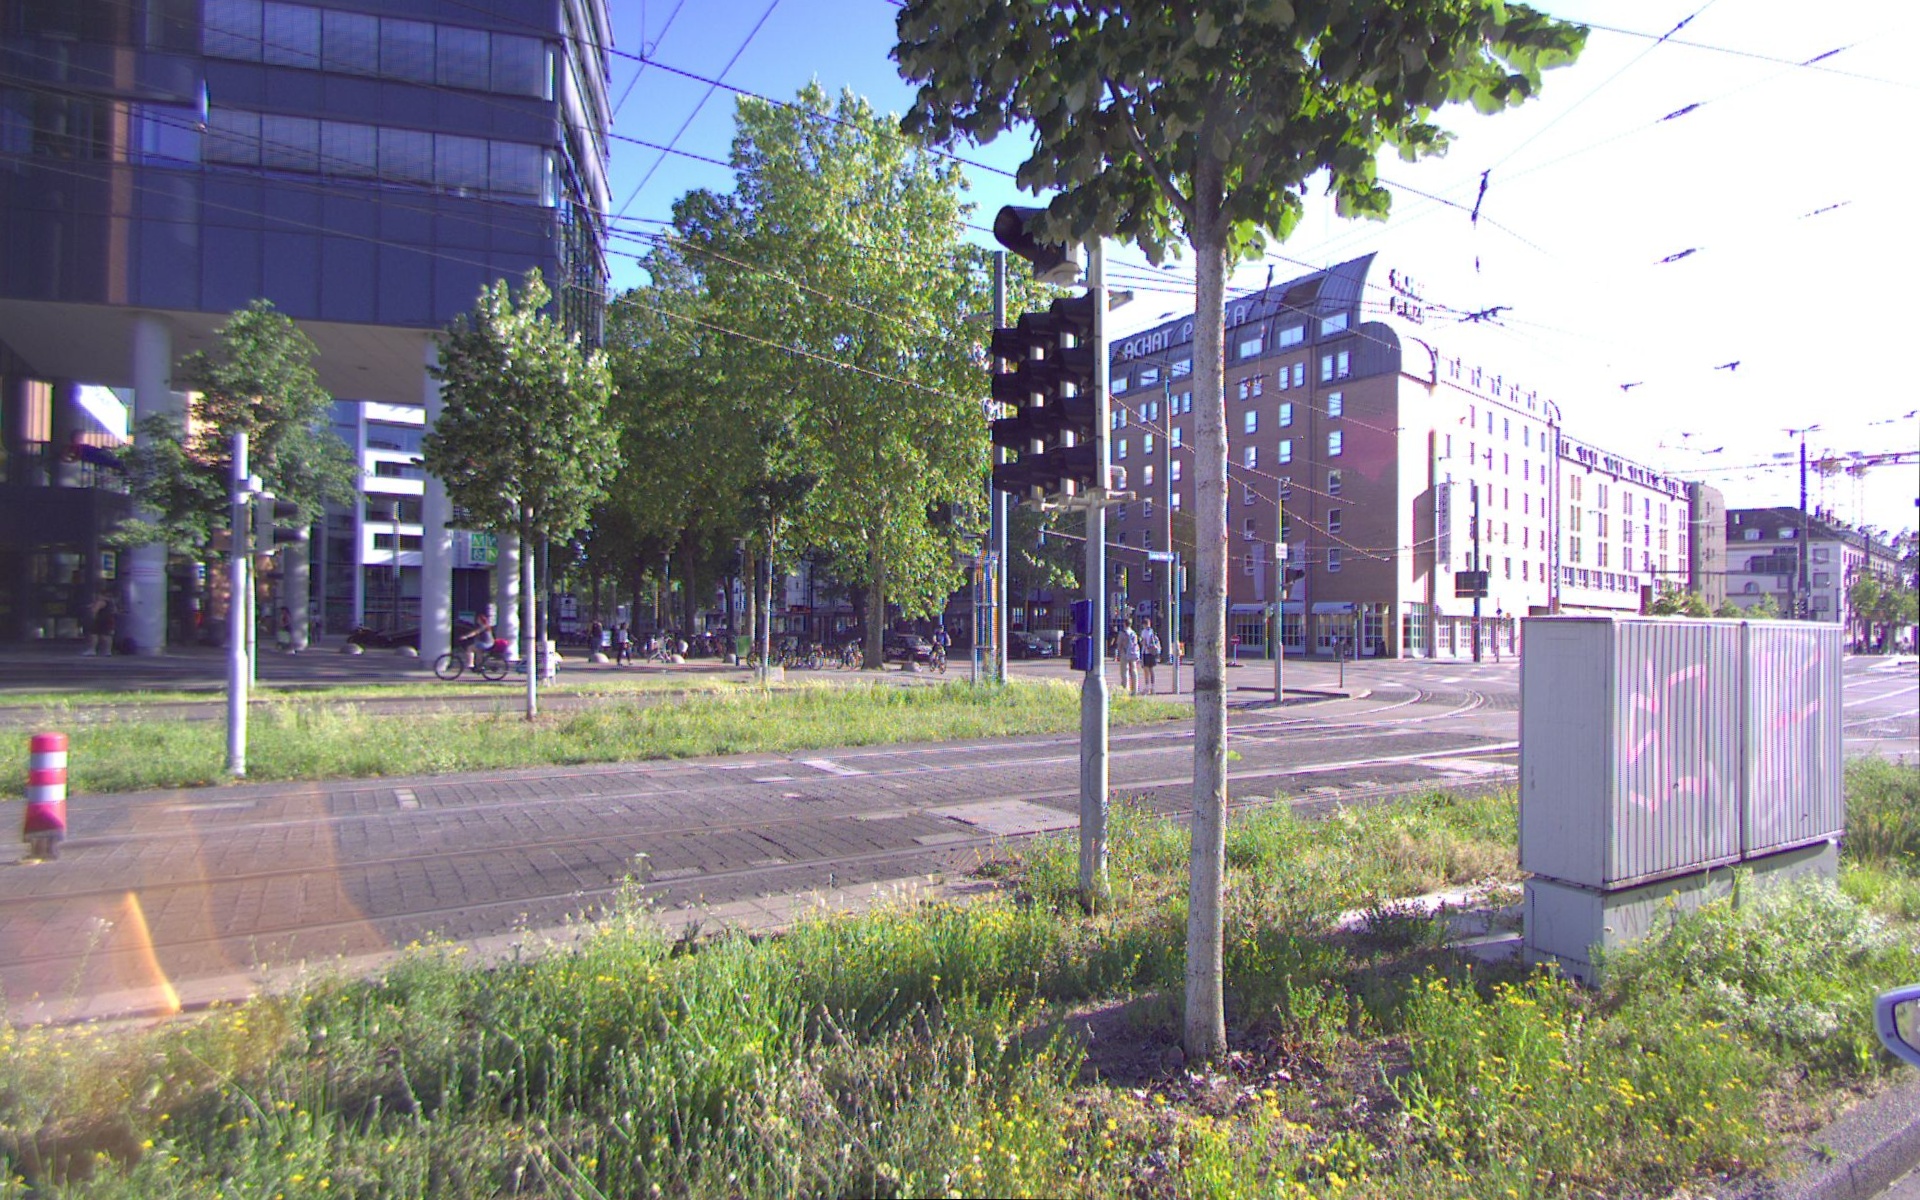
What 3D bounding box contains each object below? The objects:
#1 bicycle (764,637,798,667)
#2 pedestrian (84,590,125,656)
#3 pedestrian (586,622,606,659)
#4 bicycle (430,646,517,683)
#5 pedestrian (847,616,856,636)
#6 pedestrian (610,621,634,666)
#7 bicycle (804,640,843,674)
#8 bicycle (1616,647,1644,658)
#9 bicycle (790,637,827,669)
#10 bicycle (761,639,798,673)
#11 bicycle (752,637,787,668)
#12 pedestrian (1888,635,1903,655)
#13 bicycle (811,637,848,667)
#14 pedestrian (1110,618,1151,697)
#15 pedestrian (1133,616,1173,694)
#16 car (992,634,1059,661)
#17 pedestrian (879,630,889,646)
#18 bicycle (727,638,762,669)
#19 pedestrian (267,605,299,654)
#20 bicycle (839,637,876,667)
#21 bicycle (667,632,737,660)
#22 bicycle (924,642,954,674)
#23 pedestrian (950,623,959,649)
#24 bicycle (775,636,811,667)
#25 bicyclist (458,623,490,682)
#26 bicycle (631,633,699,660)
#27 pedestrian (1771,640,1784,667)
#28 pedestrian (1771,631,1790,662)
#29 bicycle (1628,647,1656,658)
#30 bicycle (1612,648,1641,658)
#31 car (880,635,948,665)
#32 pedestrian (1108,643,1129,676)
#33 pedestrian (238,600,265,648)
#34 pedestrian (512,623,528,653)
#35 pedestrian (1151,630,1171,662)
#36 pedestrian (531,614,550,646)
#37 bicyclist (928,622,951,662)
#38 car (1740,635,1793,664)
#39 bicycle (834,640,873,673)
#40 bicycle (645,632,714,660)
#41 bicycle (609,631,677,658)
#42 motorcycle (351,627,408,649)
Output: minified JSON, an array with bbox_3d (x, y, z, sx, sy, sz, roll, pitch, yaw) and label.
[{"bbox_3d":[-7.351,2.117,41.117,0.592,1.143,2.348,0,-1,-30],"label":"bicycle"},{"bbox_3d":[-22.824,0.626,26.810,0.691,1.727,0.728,1,-2,-31],"label":"pedestrian"},{"bbox_3d":[-16.772,1.869,46.262,0.691,1.674,0.700,2,-1,-32],"label":"pedestrian"},{"bbox_3d":[-13.121,1.729,27.105,2.043,0.962,0.686,2,-1,-31],"label":"bicycle"},{"bbox_3d":[-8.997,2.172,83.156,0.557,1.594,0.636,2,0,-20],"label":"pedestrian"},{"bbox_3d":[-13.034,1.660,38.776,0.819,1.702,0.712,-1,-1,-23],"label":"pedestrian"},{"bbox_3d":[-4.964,2.046,36.414,0.592,1.143,2.348,0,-1,-29],"label":"bicycle"},{"bbox_3d":[58.353,4.585,87.477,0.477,0.933,2.024,1,-2,-30],"label":"bicycle"},{"bbox_3d":[-5.922,2.046,39.092,0.592,1.143,2.348,0,-1,-30],"label":"bicycle"},{"bbox_3d":[-6.508,1.984,36.073,0.592,1.143,2.348,0,-1,-29],"label":"bicycle"},{"bbox_3d":[-7.421,2.023,39.058,0.592,1.143,2.348,0,-1,-30],"label":"bicycle"},{"bbox_3d":[82.296,3.947,88.358,0.850,1.692,0.781,0,0,39],"label":"pedestrian"},{"bbox_3d":[-5.244,2.076,40.239,0.592,1.143,2.348,0,-1,-30],"label":"bicycle"},{"bbox_3d":[4.142,1.382,24.443,0.691,1.894,0.728,1,-2,-31],"label":"pedestrian"},{"bbox_3d":[4.812,1.361,25.089,0.666,1.894,0.727,1,-2,-33],"label":"pedestrian"},{"bbox_3d":[3.538,2.574,55.123,1.653,1.433,3.965,2,-3,-32],"label":"car"},{"bbox_3d":[-5.695,2.864,75.058,0.583,1.179,0.742,1,-1,-17],"label":"pedestrian"},{"bbox_3d":[-8.300,2.041,38.604,0.592,1.143,2.348,0,-1,-30],"label":"bicycle"},{"bbox_3d":[-23.274,1.019,34.554,0.722,1.644,0.696,1,-1,-18],"label":"pedestrian"},{"bbox_3d":[-4.157,2.097,40.640,0.592,1.143,2.348,0,-1,-30],"label":"bicycle"},{"bbox_3d":[-12.807,2.279,49.944,1.021,1.371,3.342,-1,-2,44],"label":"bicycle"},{"bbox_3d":[-0.796,2.149,37.675,0.682,1.152,1.845,1,-2,-16],"label":"bicycle"},{"bbox_3d":[-0.410,2.551,71.267,0.581,1.853,0.745,1,-1,-1],"label":"pedestrian"},{"bbox_3d":[-6.479,1.983,38.835,0.592,1.143,2.348,0,-1,-30],"label":"bicycle"},{"bbox_3d":[-13.118,1.411,27.102,0.695,1.550,0.686,1,-1,-31],"label":"bicyclist"},{"bbox_3d":[-15.359,2.400,52.335,1.021,1.371,3.342,-1,-2,44],"label":"bicycle"},{"bbox_3d":[48.728,3.173,59.863,0.573,1.598,0.644,0,-2,36],"label":"pedestrian"},{"bbox_3d":[47.384,2.664,58.014,0.589,1.750,0.715,2,-2,-39],"label":"pedestrian"},{"bbox_3d":[59.627,4.597,87.808,0.477,0.933,2.024,1,-2,-30],"label":"bicycle"},{"bbox_3d":[57.442,4.584,86.581,0.477,0.856,2.024,1,-2,-30],"label":"bicycle"},{"bbox_3d":[-2.298,2.429,49.207,1.652,1.425,3.968,2,-3,-30],"label":"car"},{"bbox_3d":[8.264,3.082,52.281,0.821,1.702,0.711,0,-1,-30],"label":"pedestrian"},{"bbox_3d":[-25.641,0.861,36.358,0.691,1.727,0.728,1,-2,-31],"label":"pedestrian"},{"bbox_3d":[-25.273,2.178,57.705,0.691,1.737,0.727,1,-1,-33],"label":"pedestrian"},{"bbox_3d":[10.741,2.457,53.661,0.824,1.702,0.708,0,-1,-39],"label":"pedestrian"},{"bbox_3d":[-22.216,1.594,53.217,0.685,1.644,0.734,1,-1,1],"label":"pedestrian"},{"bbox_3d":[-0.773,1.562,37.635,0.682,1.480,0.752,1,-1,-16],"label":"bicyclist"},{"bbox_3d":[53.467,3.296,66.571,4.071,1.859,1.825,2,-4,-38],"label":"car"},{"bbox_3d":[-3.954,2.072,37.136,0.592,1.143,2.348,0,-1,-29],"label":"bicycle"},{"bbox_3d":[-14.305,2.347,51.268,1.021,1.371,3.342,-1,-2,44],"label":"bicycle"},{"bbox_3d":[-16.718,2.341,53.118,1.021,1.371,3.342,-1,-2,44],"label":"bicycle"},{"bbox_3d":[-28.711,1.885,49.706,2.309,1.072,0.828,1,-1,-22],"label":"motorcycle"}]
